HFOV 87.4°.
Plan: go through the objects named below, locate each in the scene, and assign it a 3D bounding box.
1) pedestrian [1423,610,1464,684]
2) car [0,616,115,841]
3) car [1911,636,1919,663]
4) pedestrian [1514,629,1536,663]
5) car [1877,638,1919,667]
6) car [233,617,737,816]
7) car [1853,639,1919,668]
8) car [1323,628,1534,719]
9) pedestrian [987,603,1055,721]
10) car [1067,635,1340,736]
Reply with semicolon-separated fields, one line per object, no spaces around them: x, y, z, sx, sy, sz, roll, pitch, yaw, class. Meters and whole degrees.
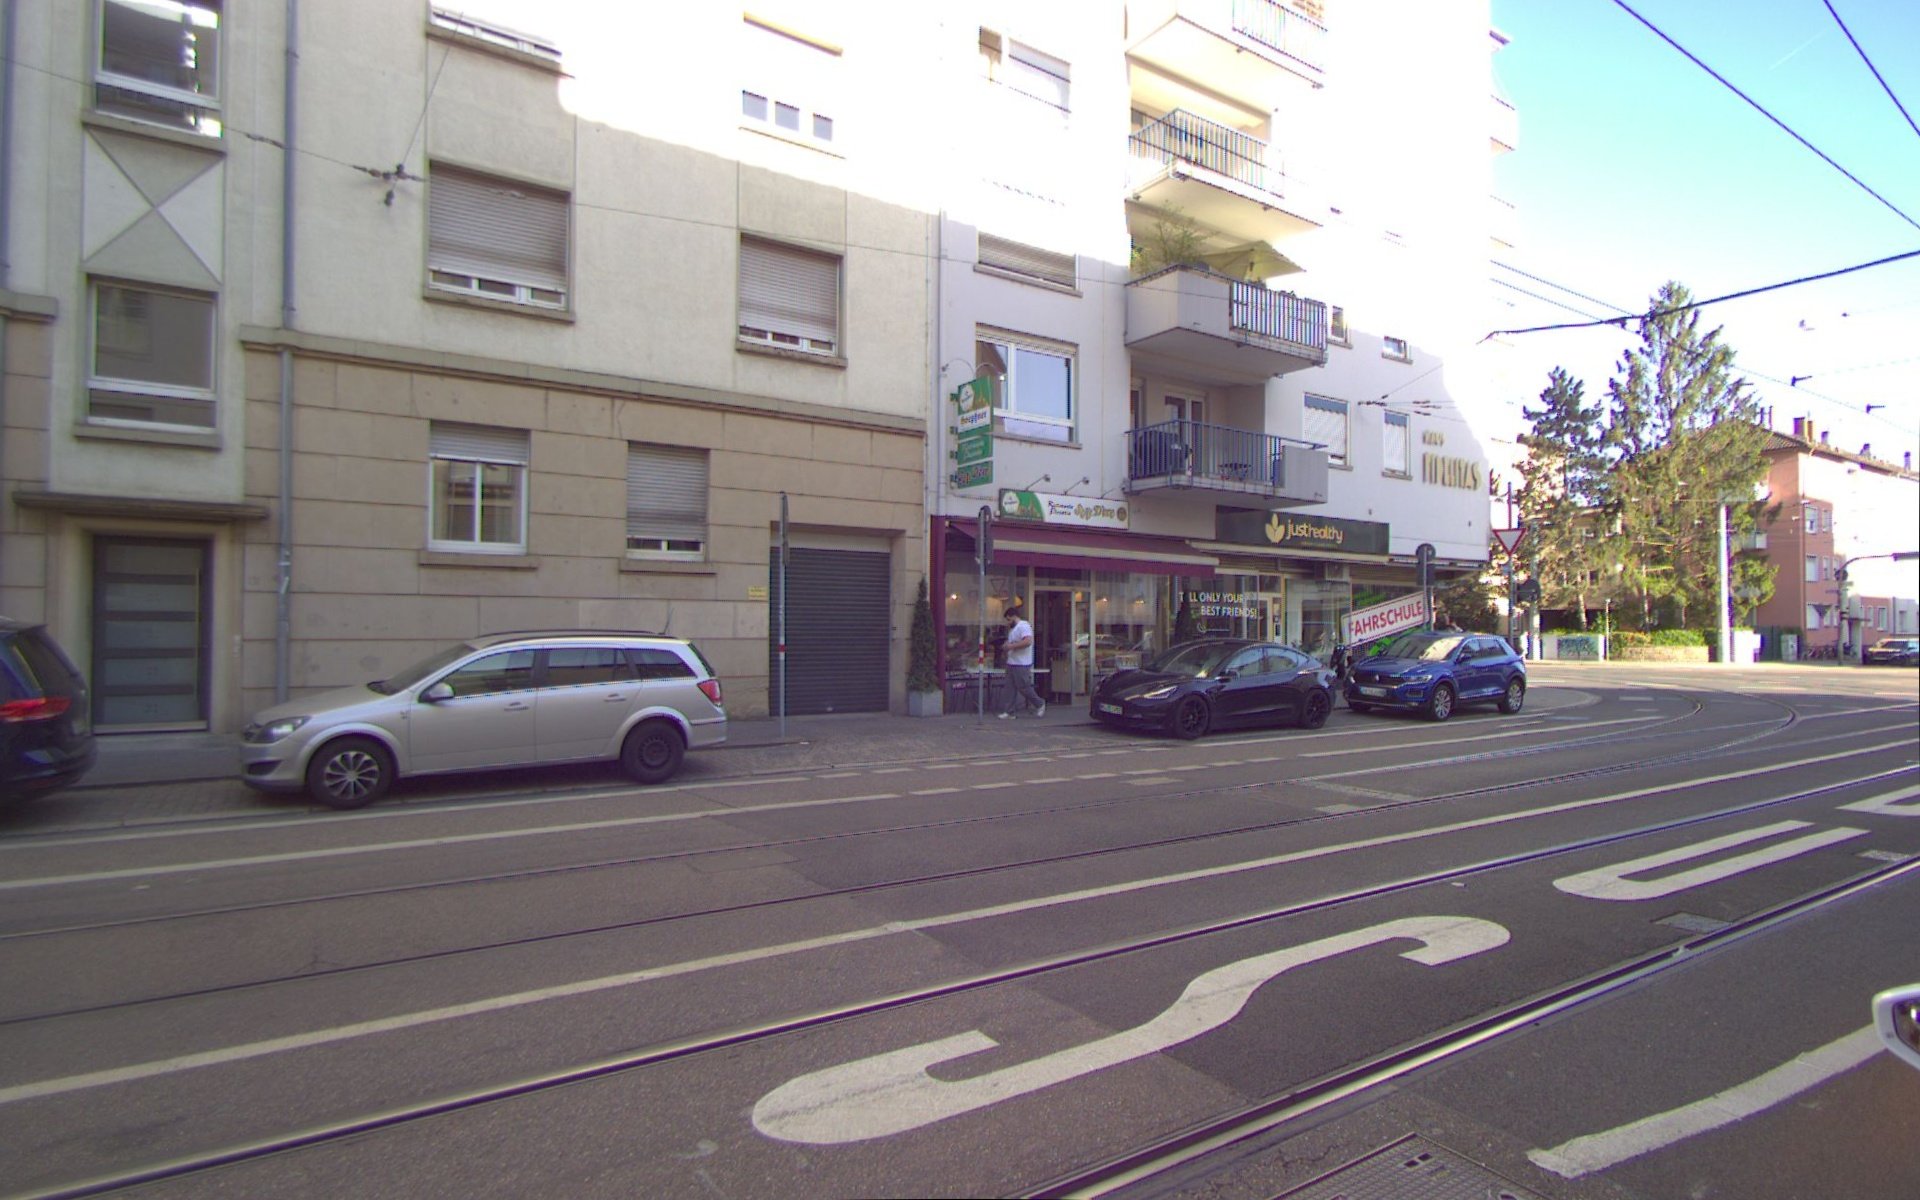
13.698;1.319;28.446;0.688;2.040;0.764;2;0;-35;pedestrian
-8.995;0.913;7.213;4.249;1.606;1.893;2;0;-35;car
58.097;2.959;59.333;4.103;1.531;1.778;2;0;-31;car
31.169;2.504;55.404;0.890;1.815;0.803;2;0;43;pedestrian
53.176;2.927;56.007;4.250;1.518;1.806;2;0;-30;car
-4.716;1.033;10.309;4.319;1.580;1.981;2;0;-34;car
49.604;2.832;53.600;3.949;1.440;1.784;2;0;-31;car
8.928;1.313;19.061;4.030;1.552;1.858;1;-2;-34;car
0.980;0.985;16.166;0.802;1.827;0.689;2;0;-30;pedestrian
3.965;1.273;16.121;4.382;1.405;1.810;1;-2;-34;car
